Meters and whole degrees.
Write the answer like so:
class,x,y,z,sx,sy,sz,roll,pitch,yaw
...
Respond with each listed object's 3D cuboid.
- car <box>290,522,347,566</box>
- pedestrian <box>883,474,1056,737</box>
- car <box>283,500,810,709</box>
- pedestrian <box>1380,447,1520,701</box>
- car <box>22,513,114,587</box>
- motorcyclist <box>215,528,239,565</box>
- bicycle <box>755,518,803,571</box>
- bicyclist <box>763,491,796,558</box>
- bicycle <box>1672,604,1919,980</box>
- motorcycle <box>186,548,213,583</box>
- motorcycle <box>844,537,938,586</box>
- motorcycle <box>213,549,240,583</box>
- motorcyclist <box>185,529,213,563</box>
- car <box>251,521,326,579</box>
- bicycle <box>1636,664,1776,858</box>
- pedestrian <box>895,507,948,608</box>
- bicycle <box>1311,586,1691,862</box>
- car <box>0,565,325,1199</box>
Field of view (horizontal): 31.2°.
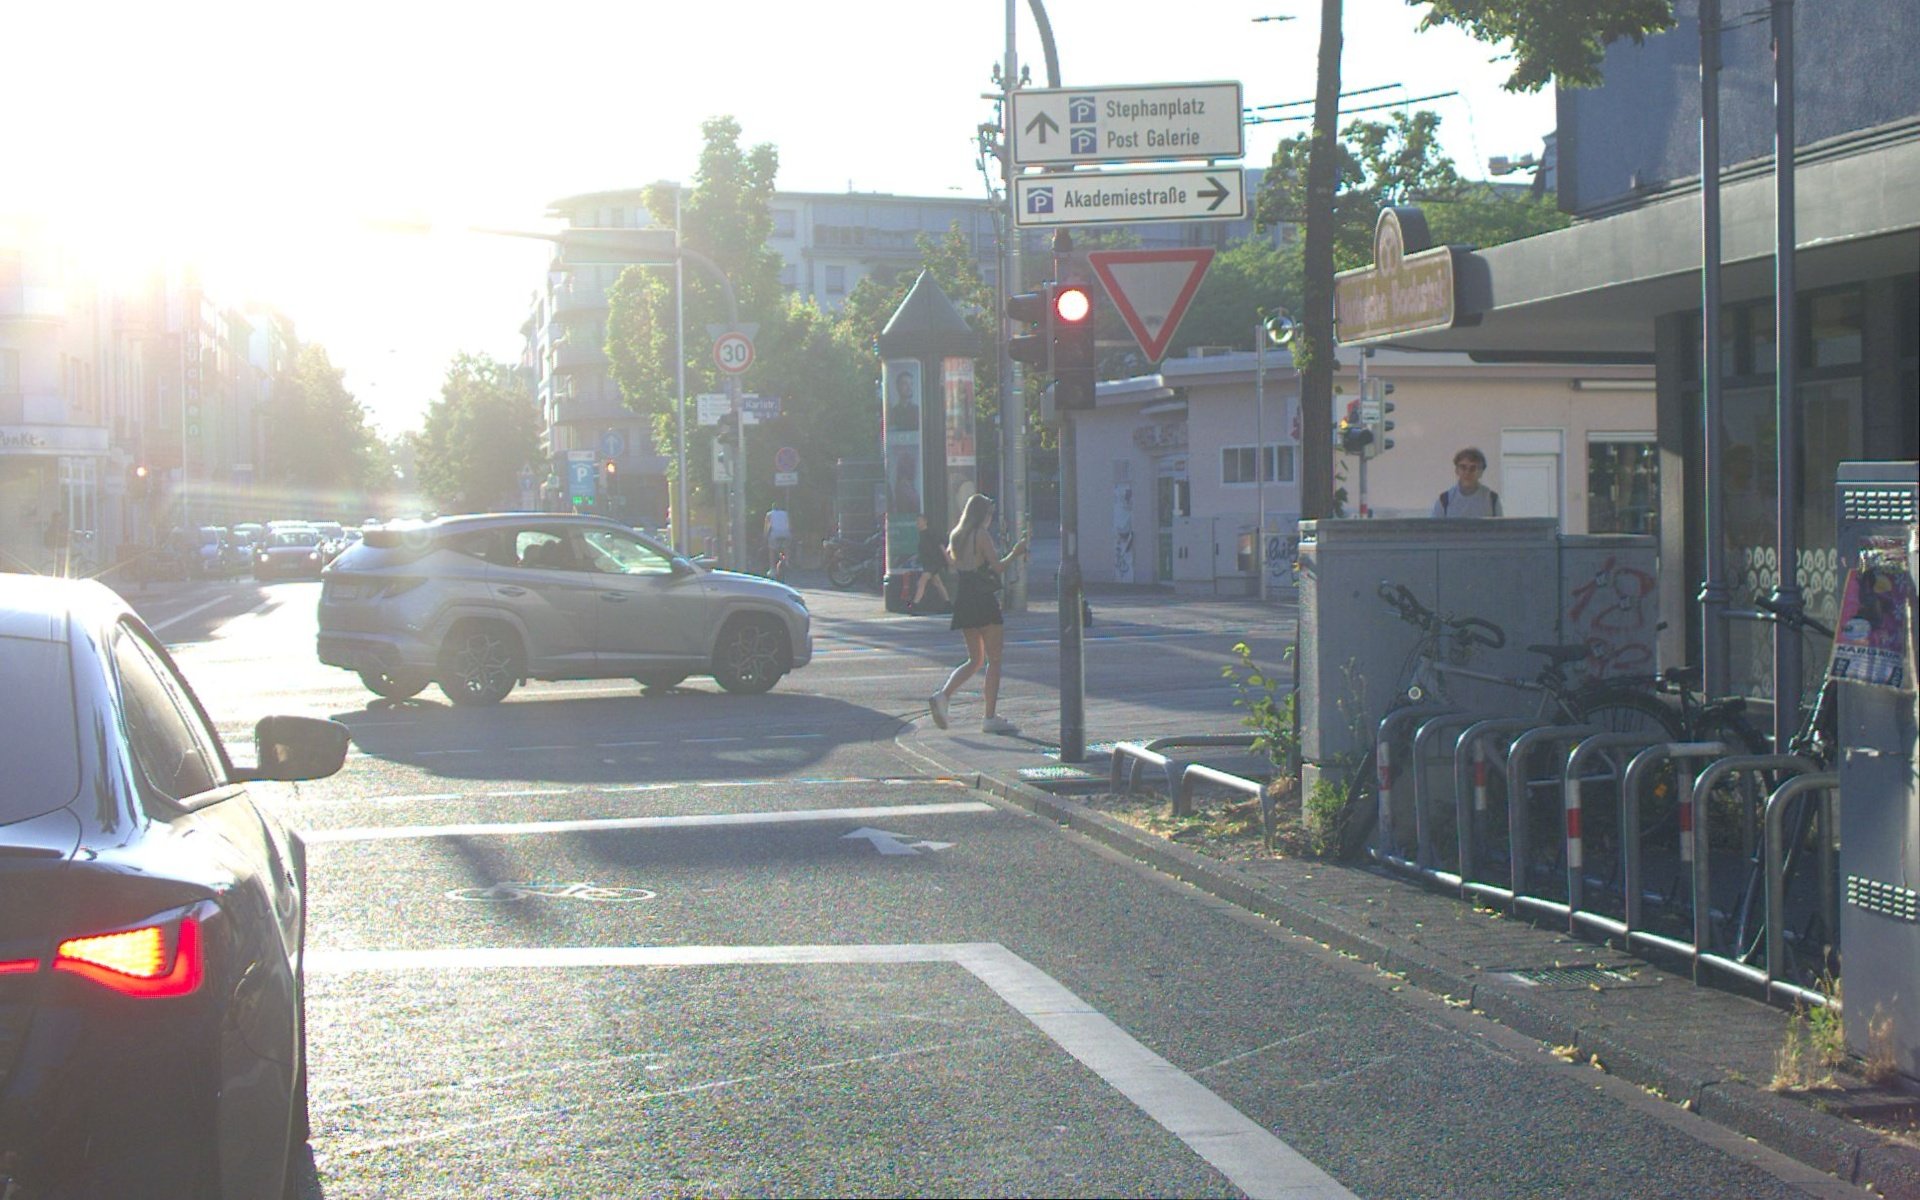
class,x,y,z,sx,sy,sz,roll,pitch,yaw
car,-22.969,-2.010,123.248,1.817,1.514,4.001,-1,2,-8
pedestrian,0.073,0.028,25.387,1.001,1.854,0.640,-4,3,-28
car,-3.635,-0.020,30.549,4.278,1.701,1.805,-2,2,-34
pedestrian,3.616,-0.197,25.418,0.835,1.835,0.679,-1,1,-8
car,-22.643,-1.293,87.367,1.817,1.782,4.001,-1,2,-8
motorcyclist,-19.967,-1.455,93.659,0.575,0.992,0.703,1,1,-8
bicycle,-4.001,-1.222,75.888,0.550,1.155,2.145,0,1,-17
bicyclist,-3.987,-1.667,75.832,0.550,1.476,0.723,0,0,-17
bicycle,3.145,0.634,11.472,1.440,1.216,0.383,1,1,-7
motorcycle,-20.827,-0.946,94.157,0.575,0.912,2.201,1,1,-8
motorcycle,-1.366,-0.763,67.862,1.668,0.935,0.856,-1,2,-19
motorcycle,-19.991,-0.927,93.768,0.575,0.912,2.201,1,1,-8
motorcyclist,-20.824,-1.475,94.135,0.575,0.912,2.201,1,1,-8
car,-18.459,-1.401,94.635,1.817,1.514,4.001,-1,2,-8
bicycle,3.322,0.703,15.358,0.249,0.793,1.116,1,1,-7
pedestrian,-0.596,-0.655,52.827,0.732,1.524,0.473,1,1,-9
bicycle,2.382,0.537,15.158,1.612,1.167,0.318,-1,1,-6
car,-2.115,0.671,6.500,1.736,1.424,4.225,0,1,-10
